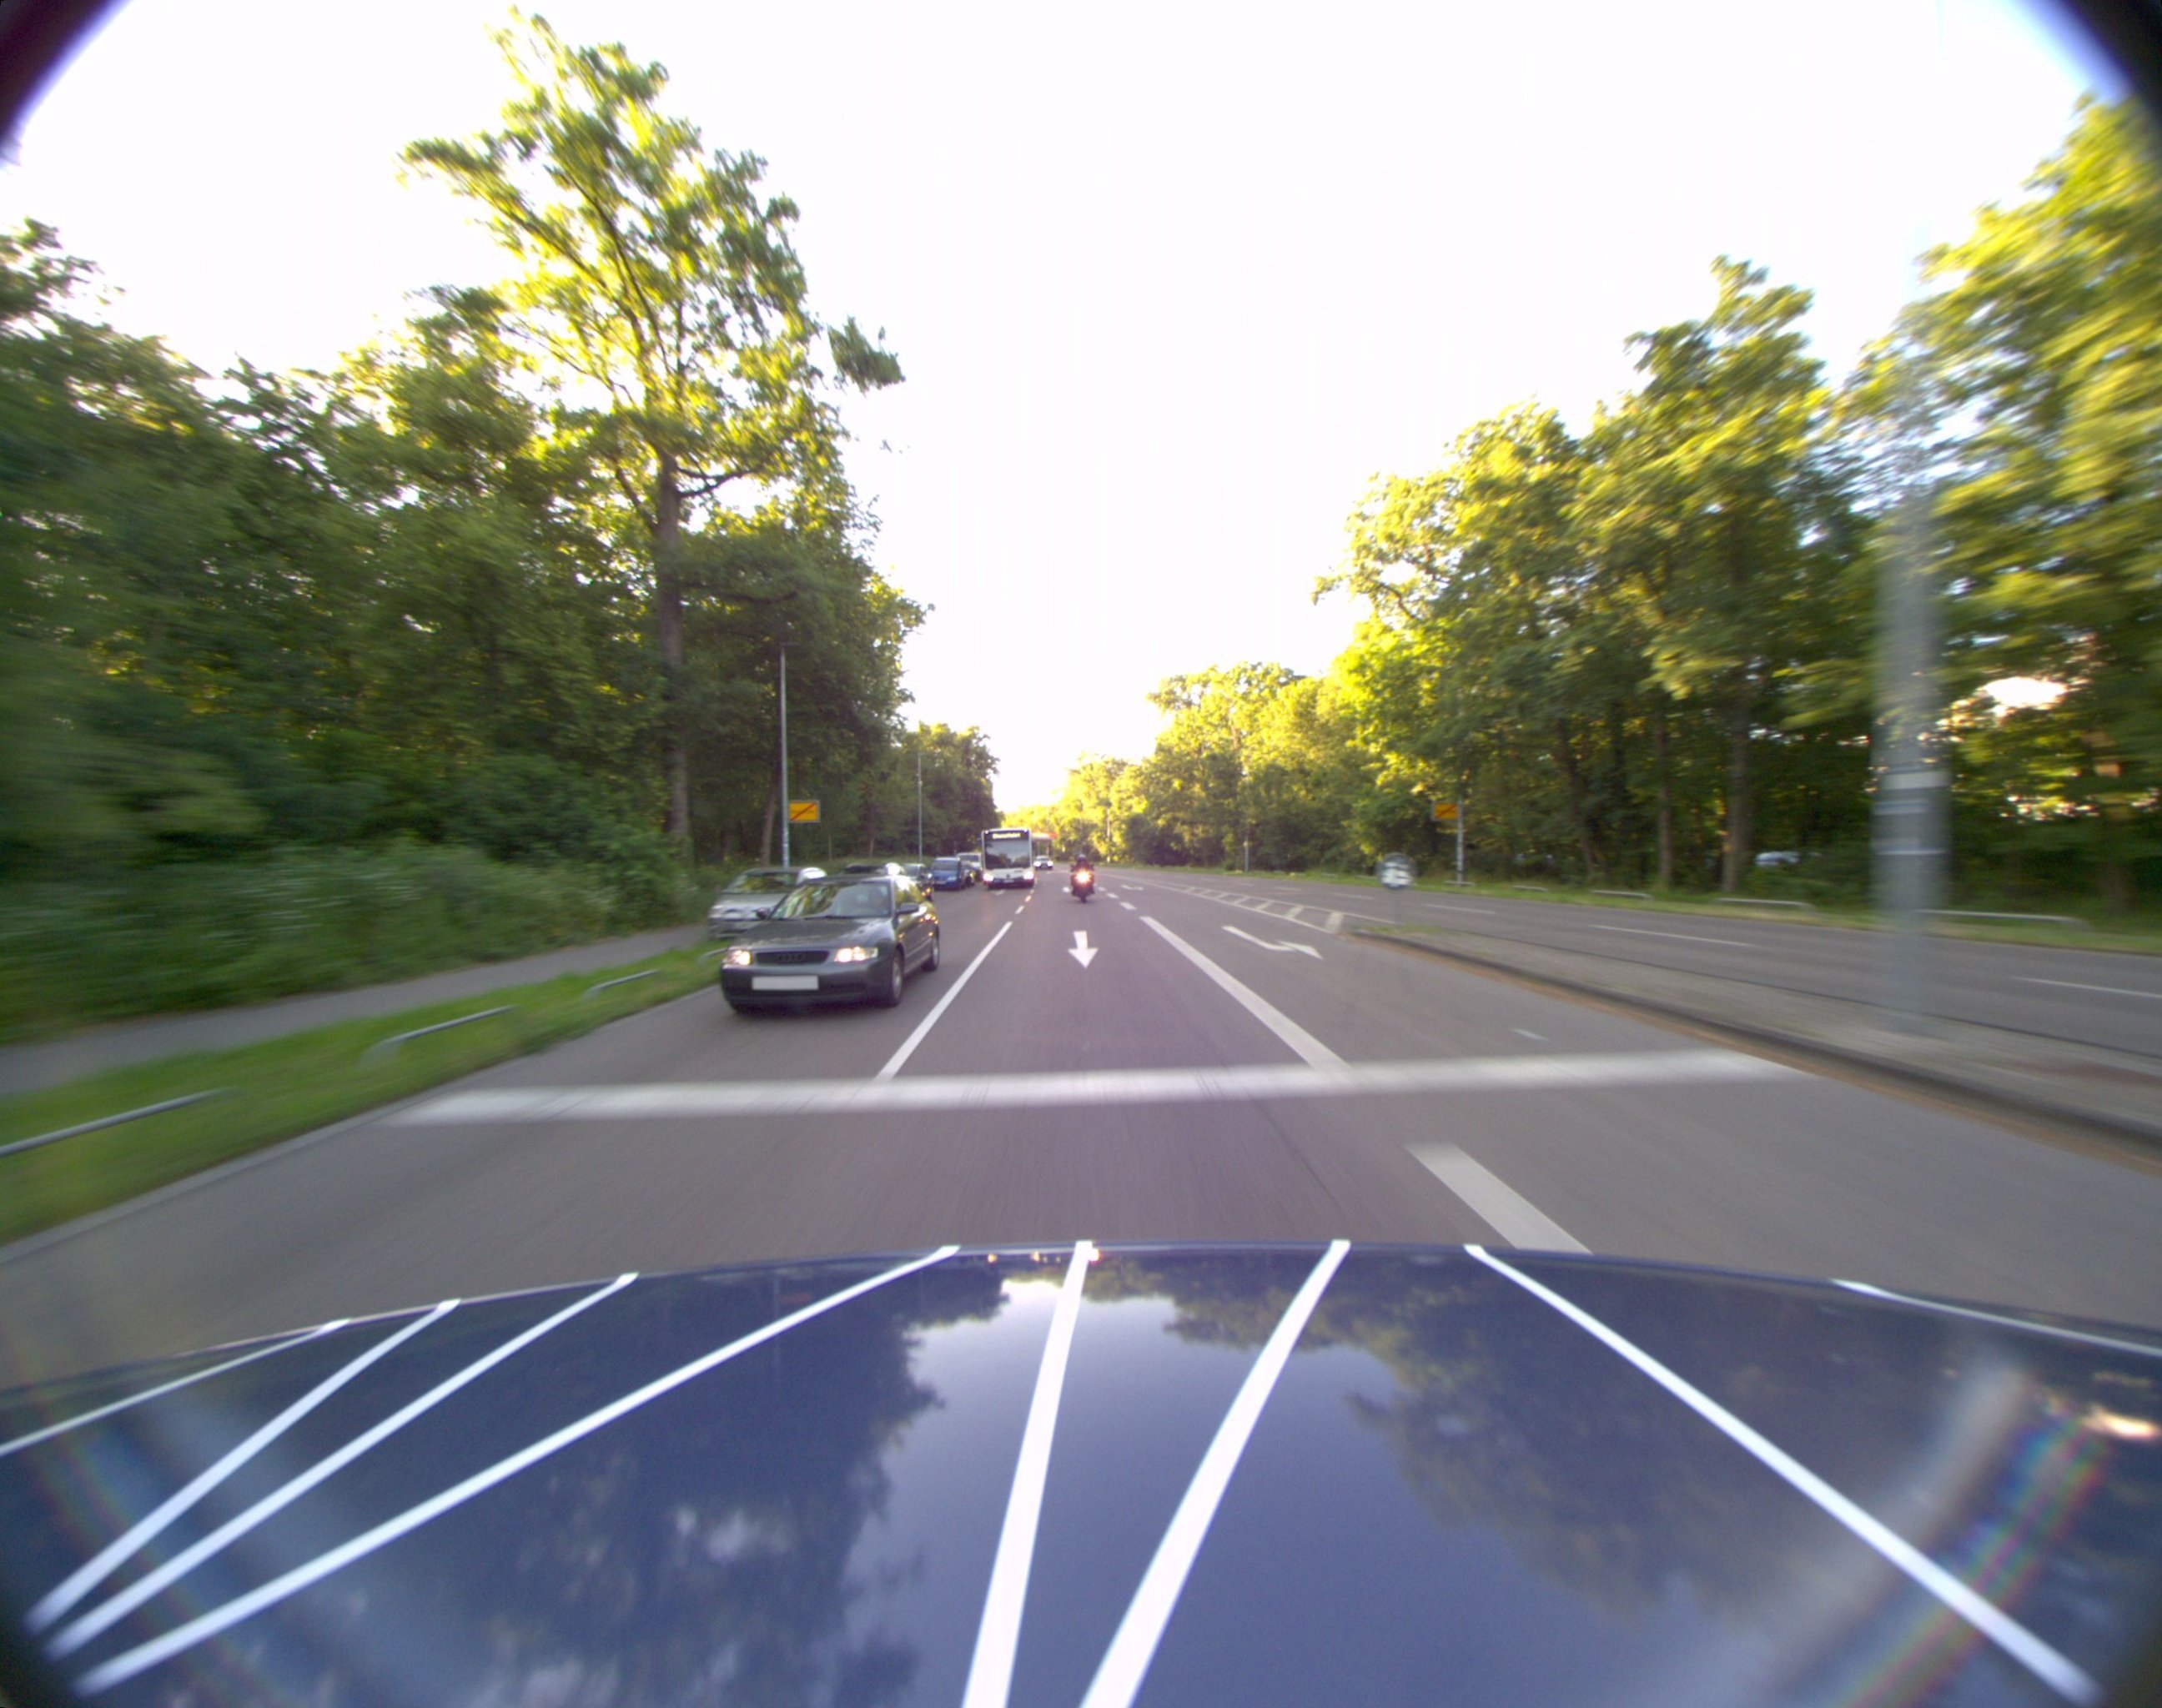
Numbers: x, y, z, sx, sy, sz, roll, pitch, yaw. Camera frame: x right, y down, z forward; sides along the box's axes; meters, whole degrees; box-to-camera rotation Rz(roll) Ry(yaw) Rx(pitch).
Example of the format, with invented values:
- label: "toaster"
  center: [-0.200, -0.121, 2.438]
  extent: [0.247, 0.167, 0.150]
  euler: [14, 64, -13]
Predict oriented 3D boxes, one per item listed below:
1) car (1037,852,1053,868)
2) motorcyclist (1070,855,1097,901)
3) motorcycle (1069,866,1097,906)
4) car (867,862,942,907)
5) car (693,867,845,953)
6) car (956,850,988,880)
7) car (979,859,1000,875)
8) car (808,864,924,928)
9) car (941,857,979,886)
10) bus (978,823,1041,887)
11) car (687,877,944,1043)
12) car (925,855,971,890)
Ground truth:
- label: "car"
  center: [-3.889, 0.638, 83.048]
  extent: [1.679, 1.552, 3.993]
  euler: [-2, 0, -2]
- label: "motorcyclist"
  center: [0.094, 0.799, 25.764]
  extent: [0.830, 1.484, 1.024]
  euler: [-2, 0, 2]
- label: "motorcycle"
  center: [0.085, 1.046, 25.771]
  extent: [0.830, 1.211, 2.604]
  euler: [-2, 0, 2]
- label: "car"
  center: [-6.226, 1.029, 27.192]
  extent: [1.676, 1.396, 4.230]
  euler: [0, 0, 0]
- label: "car"
  center: [-6.237, 1.042, 15.676]
  extent: [1.723, 1.460, 3.872]
  euler: [0, 0, -3]
- label: "car"
  center: [-7.526, 0.721, 52.947]
  extent: [1.820, 1.910, 5.264]
  euler: [-2, 1, -5]
- label: "car"
  center: [-8.489, 1.189, 70.732]
  extent: [1.595, 1.374, 3.828]
  euler: [-2, 1, -3]
- label: "car"
  center: [-5.804, 1.055, 21.190]
  extent: [1.766, 1.460, 5.116]
  euler: [0, 0, 0]
- label: "car"
  center: [-6.846, 0.944, 43.400]
  extent: [1.820, 1.470, 3.827]
  euler: [-2, 1, -5]
- label: "bus"
  center: [-3.804, 0.086, 43.425]
  extent: [2.813, 3.030, 12.883]
  euler: [-2, 0, -2]
- label: "car"
  center: [-2.814, 1.043, 9.028]
  extent: [1.679, 1.351, 3.993]
  euler: [-2, 0, -1]
- label: "car"
  center: [-6.607, 0.874, 38.000]
  extent: [1.819, 1.624, 3.828]
  euler: [0, 0, -3]
